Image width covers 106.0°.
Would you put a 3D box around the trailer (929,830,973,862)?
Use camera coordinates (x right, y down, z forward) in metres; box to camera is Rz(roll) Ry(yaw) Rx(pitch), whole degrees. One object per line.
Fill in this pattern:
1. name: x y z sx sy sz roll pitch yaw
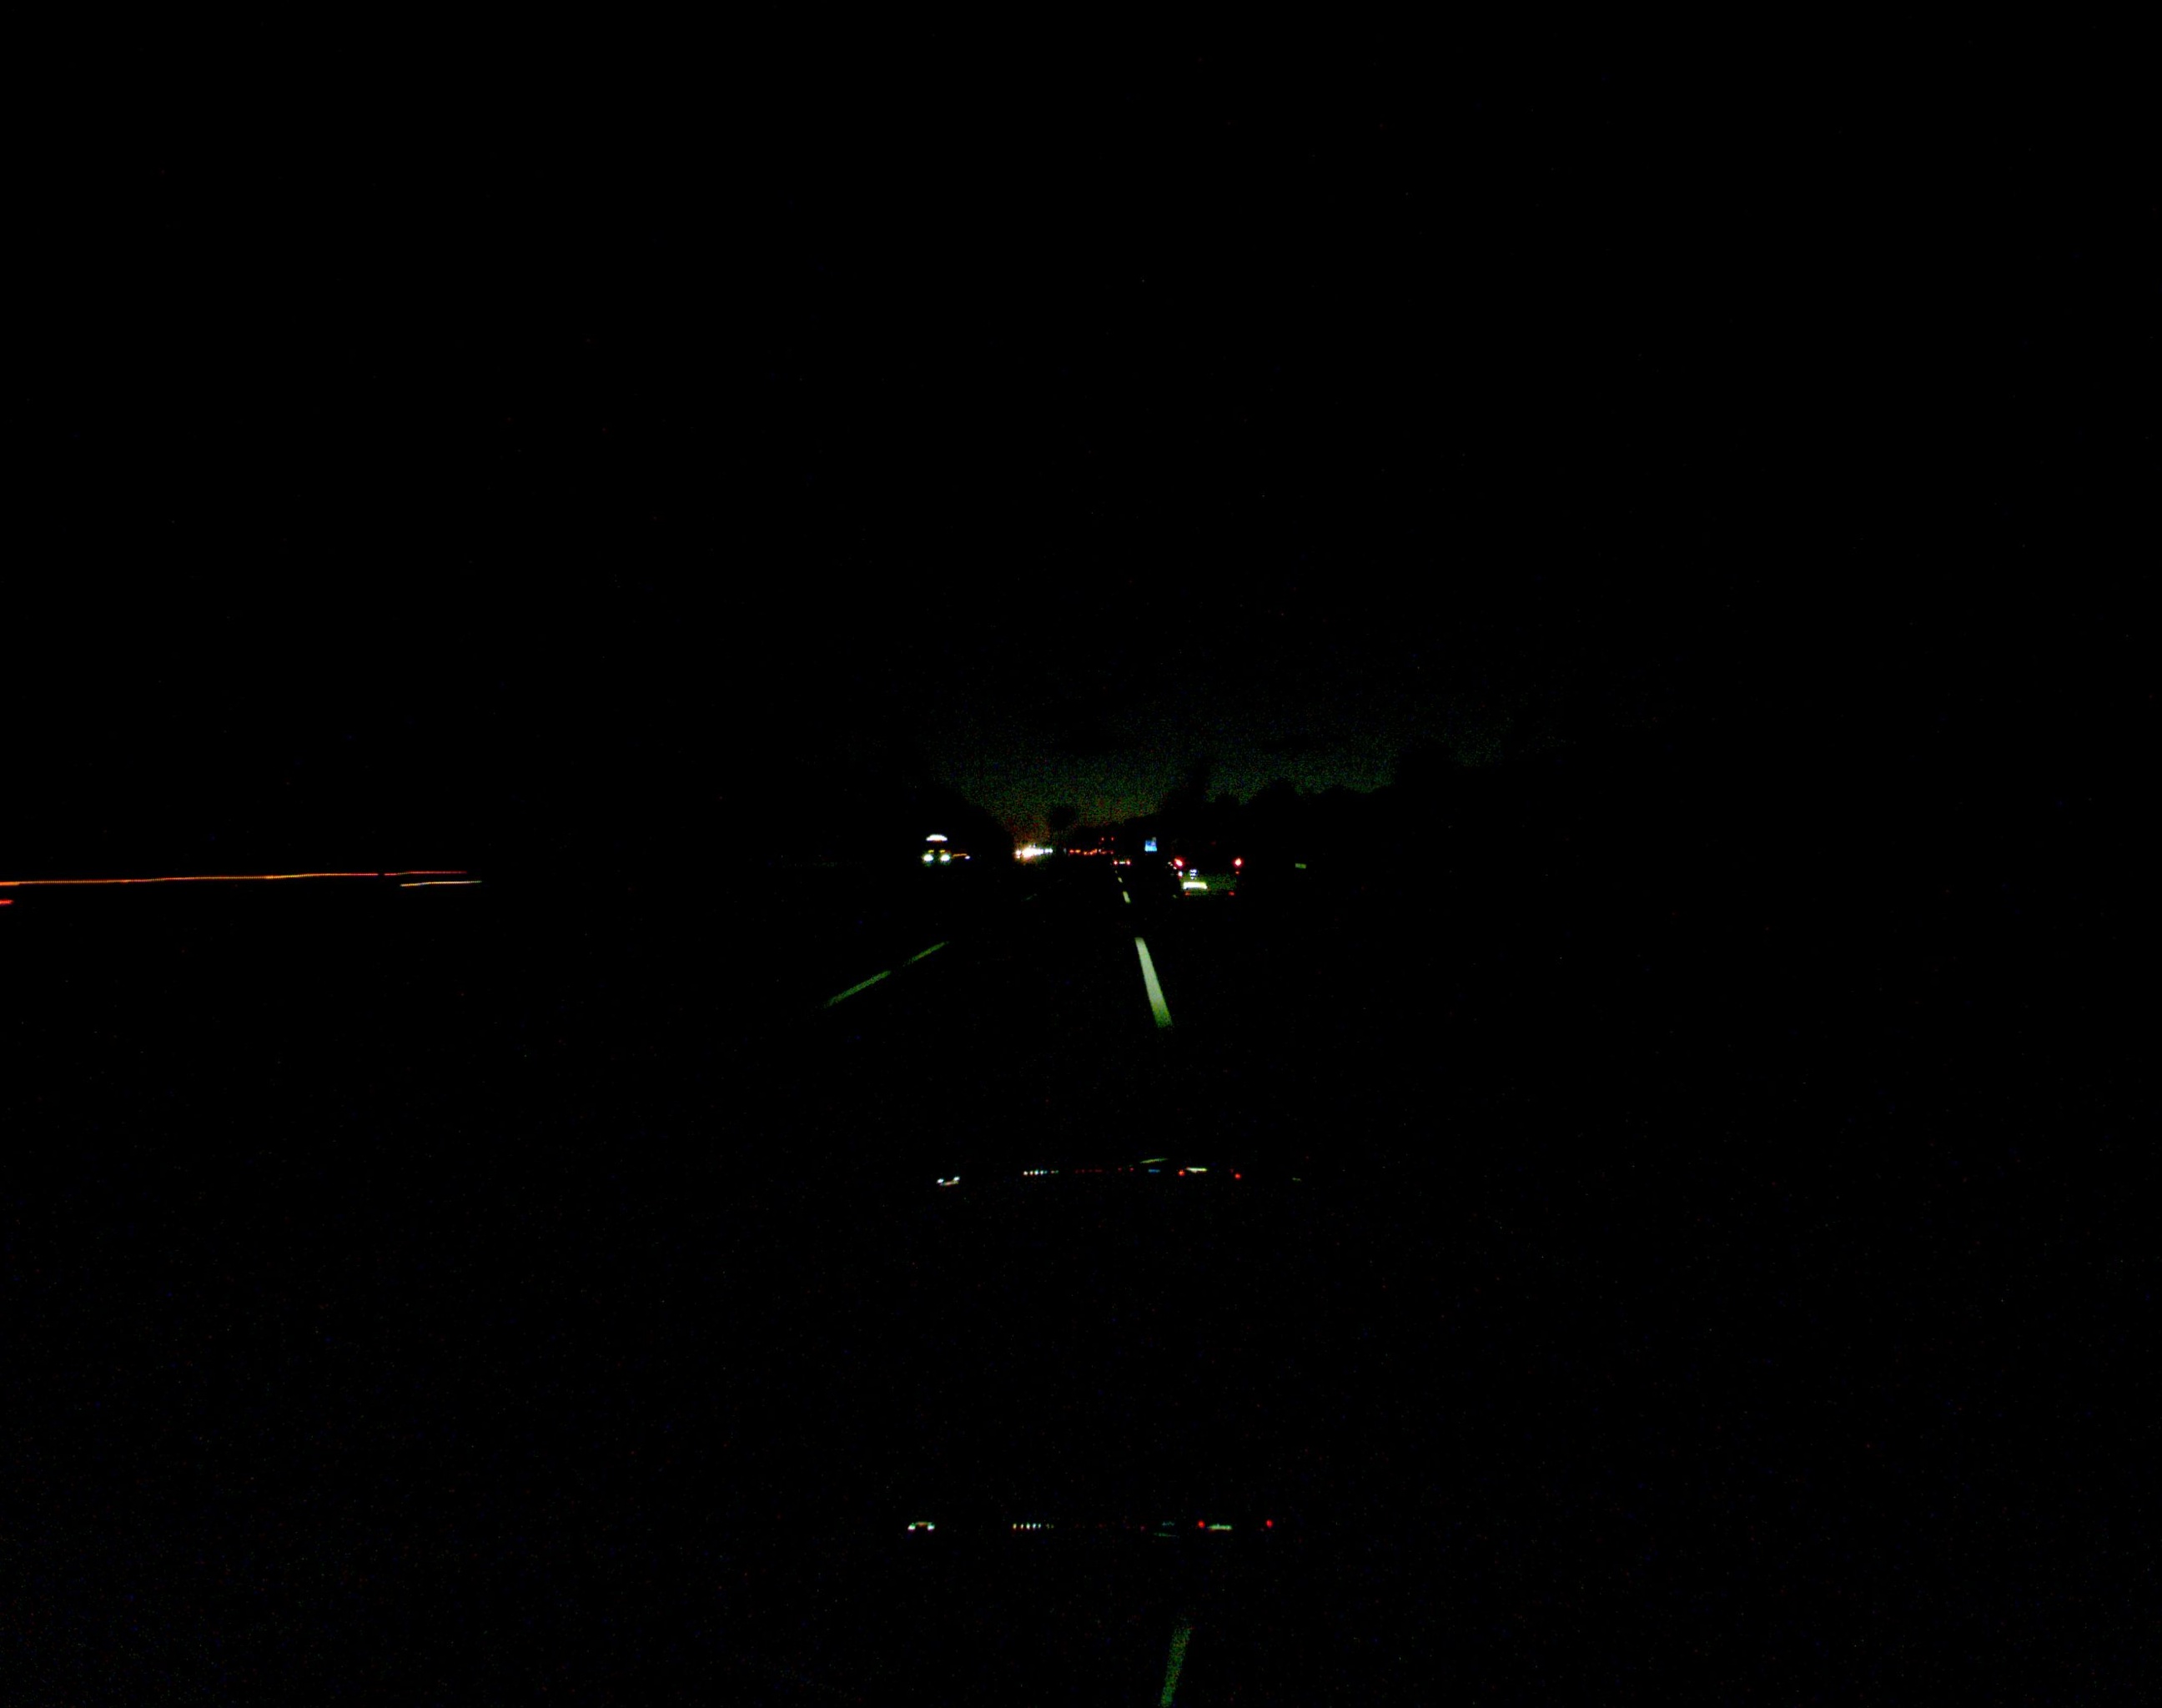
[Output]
1. trailer: -17.330 -1.025 109.382 3.418 3.980 13.814 0 0 1

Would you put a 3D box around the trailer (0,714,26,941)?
1. trailer: -20.787 -0.455 10.971 3.417 3.980 7.356 0 0 2

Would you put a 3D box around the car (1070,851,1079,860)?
1. car: -1.455 0.270 179.059 1.987 1.816 3.999 0 -1 0

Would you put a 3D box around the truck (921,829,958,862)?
1. truck: -17.483 -1.014 100.819 3.418 3.980 6.208 0 0 1

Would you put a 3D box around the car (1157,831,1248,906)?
1. car: 3.566 0.390 24.916 2.107 2.001 5.666 0 0 2

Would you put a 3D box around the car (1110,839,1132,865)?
1. car: 4.161 -0.175 85.284 2.026 2.647 5.723 0 0 -1

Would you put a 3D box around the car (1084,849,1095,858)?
1. car: 1.635 -0.054 162.032 1.988 1.794 3.997 0 -1 -2

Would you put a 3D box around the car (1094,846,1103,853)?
1. car: 5.032 -1.303 233.611 1.990 2.117 3.993 0 -1 -4

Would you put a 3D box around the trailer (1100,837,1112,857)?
1. trailer: 6.174 -1.661 200.594 2.819 4.257 17.053 0 -1 2

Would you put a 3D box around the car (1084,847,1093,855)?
1. car: 1.734 -0.690 195.867 1.986 1.794 4.002 0 -1 2

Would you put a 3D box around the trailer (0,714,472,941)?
1. trailer: -20.522 -0.460 17.827 3.417 3.980 14.056 0 0 2

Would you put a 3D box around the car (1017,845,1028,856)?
1. car: -13.152 -0.822 183.158 2.094 2.517 6.216 0 0 1
